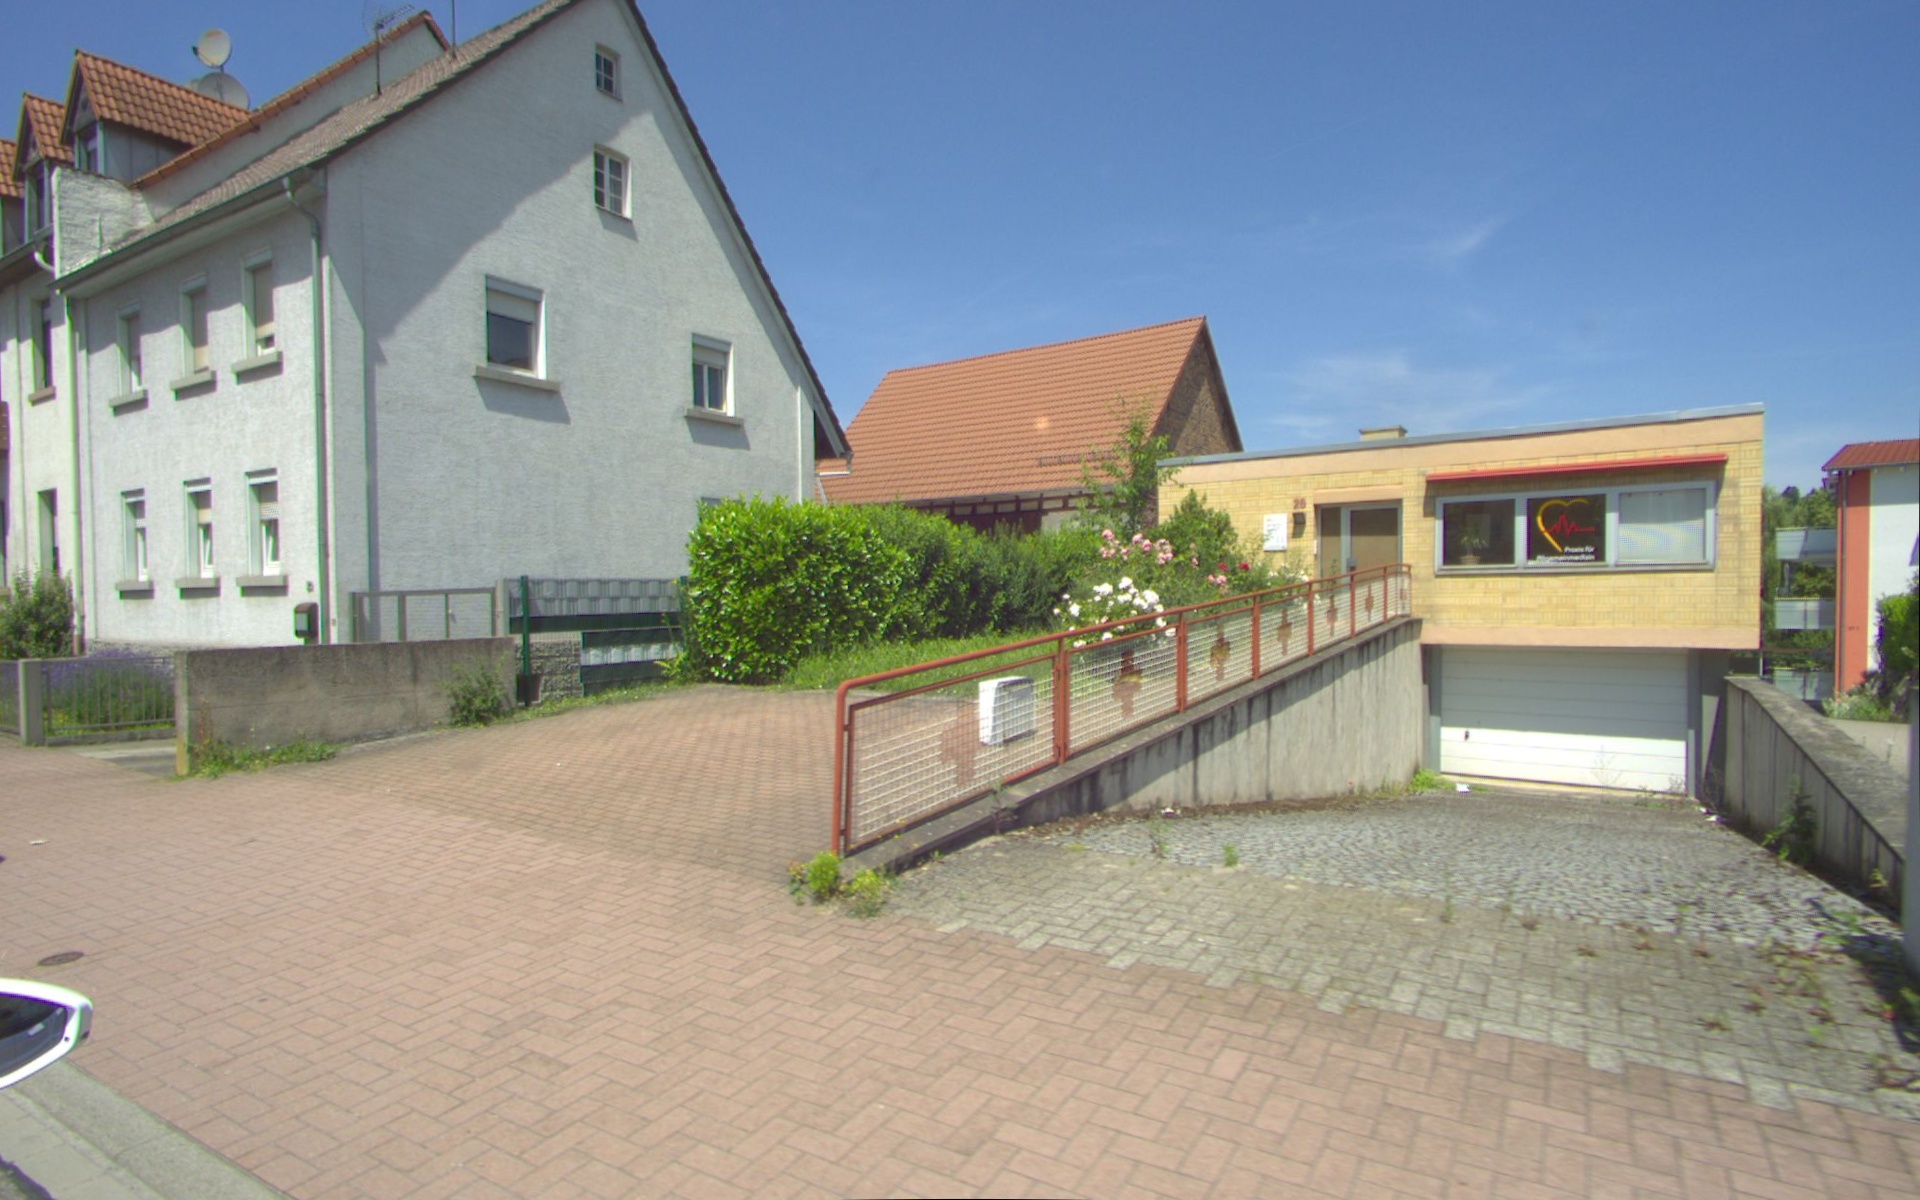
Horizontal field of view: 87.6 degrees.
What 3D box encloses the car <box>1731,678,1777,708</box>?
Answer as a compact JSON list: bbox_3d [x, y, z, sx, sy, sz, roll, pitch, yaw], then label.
[{"bbox_3d":[43.091,5.014,54.370,1.887,1.459,3.902,-1,-3,39],"label":"car"}]
